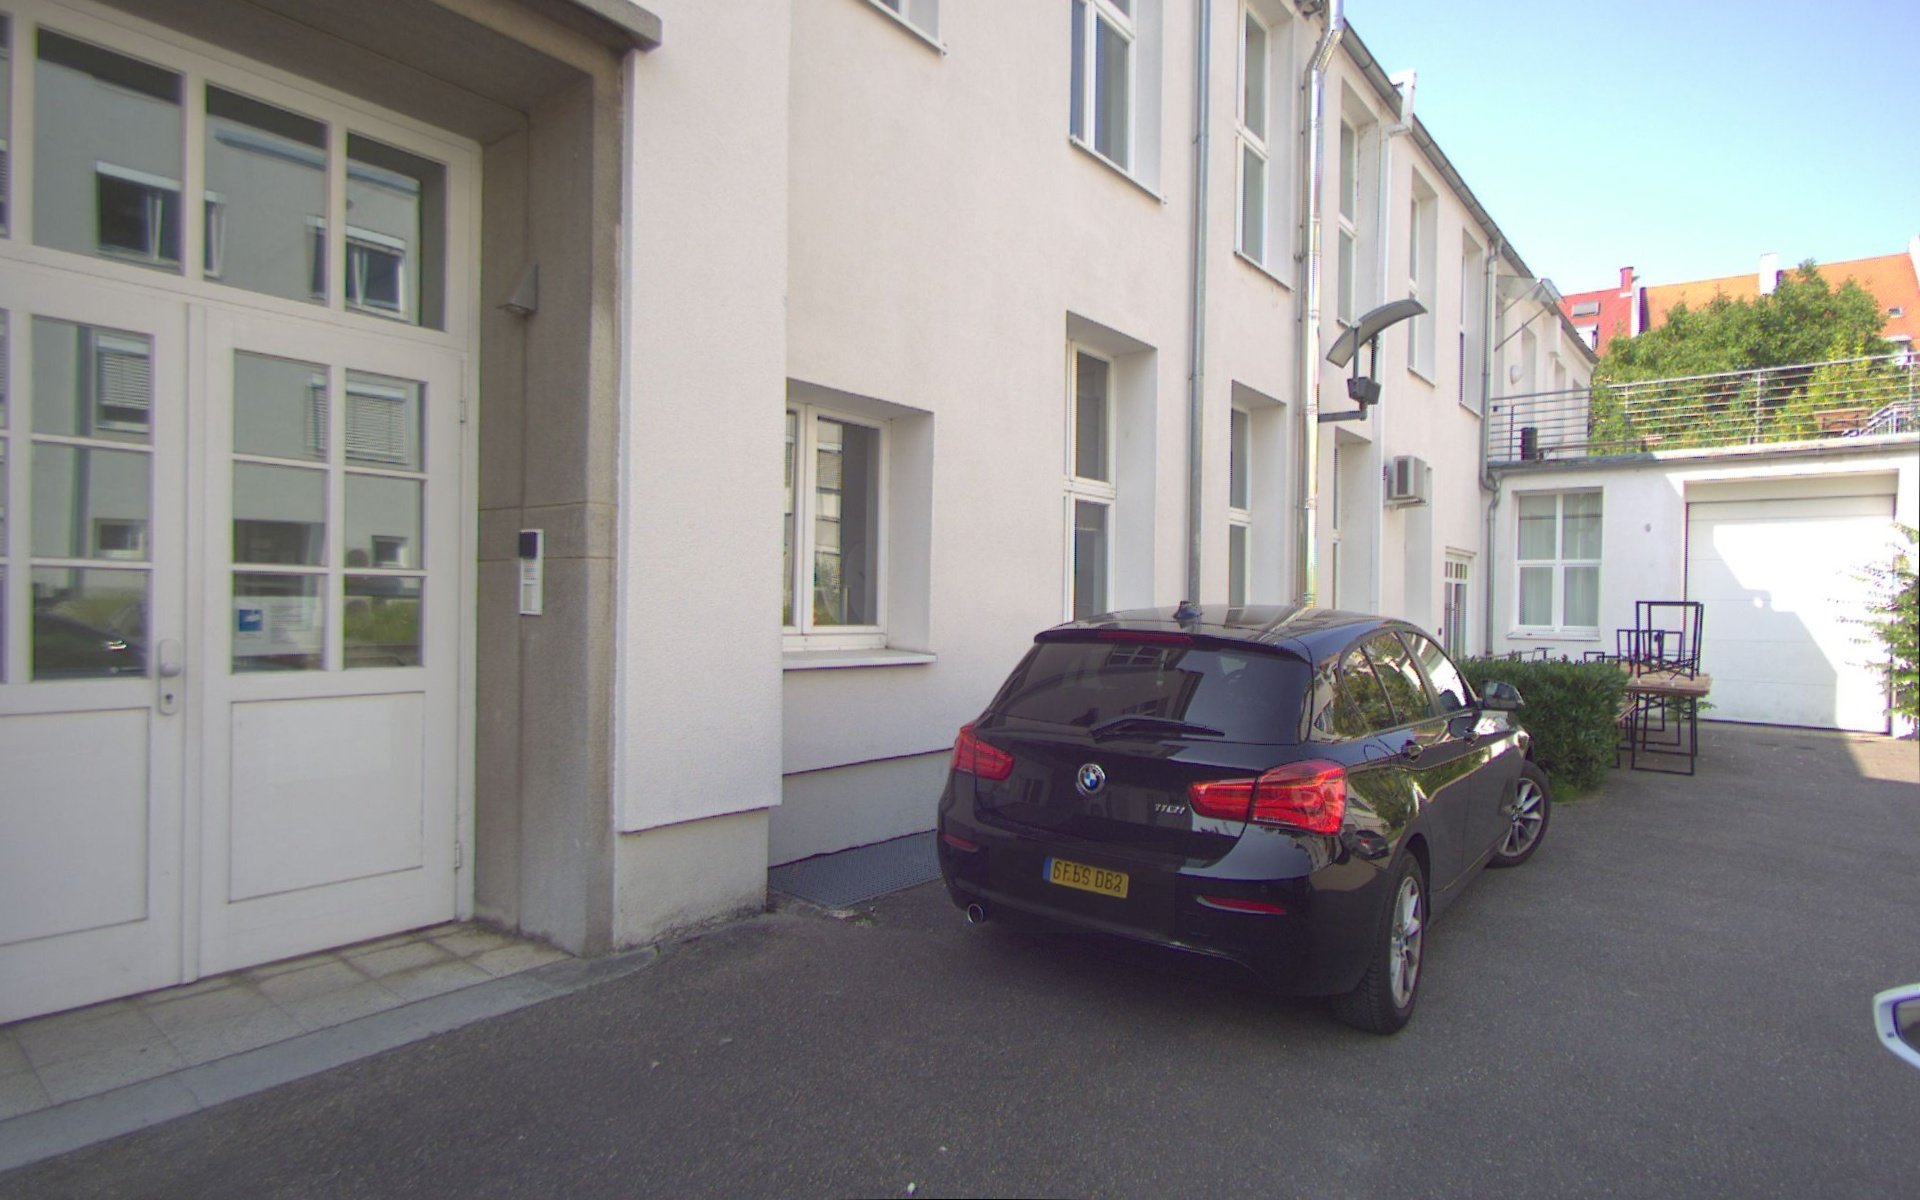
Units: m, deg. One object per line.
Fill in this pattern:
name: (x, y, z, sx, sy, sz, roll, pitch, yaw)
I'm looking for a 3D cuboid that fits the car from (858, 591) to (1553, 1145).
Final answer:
car: (1.568, 0.729, 4.860, 1.770, 1.447, 4.120, 2, 1, 37)
